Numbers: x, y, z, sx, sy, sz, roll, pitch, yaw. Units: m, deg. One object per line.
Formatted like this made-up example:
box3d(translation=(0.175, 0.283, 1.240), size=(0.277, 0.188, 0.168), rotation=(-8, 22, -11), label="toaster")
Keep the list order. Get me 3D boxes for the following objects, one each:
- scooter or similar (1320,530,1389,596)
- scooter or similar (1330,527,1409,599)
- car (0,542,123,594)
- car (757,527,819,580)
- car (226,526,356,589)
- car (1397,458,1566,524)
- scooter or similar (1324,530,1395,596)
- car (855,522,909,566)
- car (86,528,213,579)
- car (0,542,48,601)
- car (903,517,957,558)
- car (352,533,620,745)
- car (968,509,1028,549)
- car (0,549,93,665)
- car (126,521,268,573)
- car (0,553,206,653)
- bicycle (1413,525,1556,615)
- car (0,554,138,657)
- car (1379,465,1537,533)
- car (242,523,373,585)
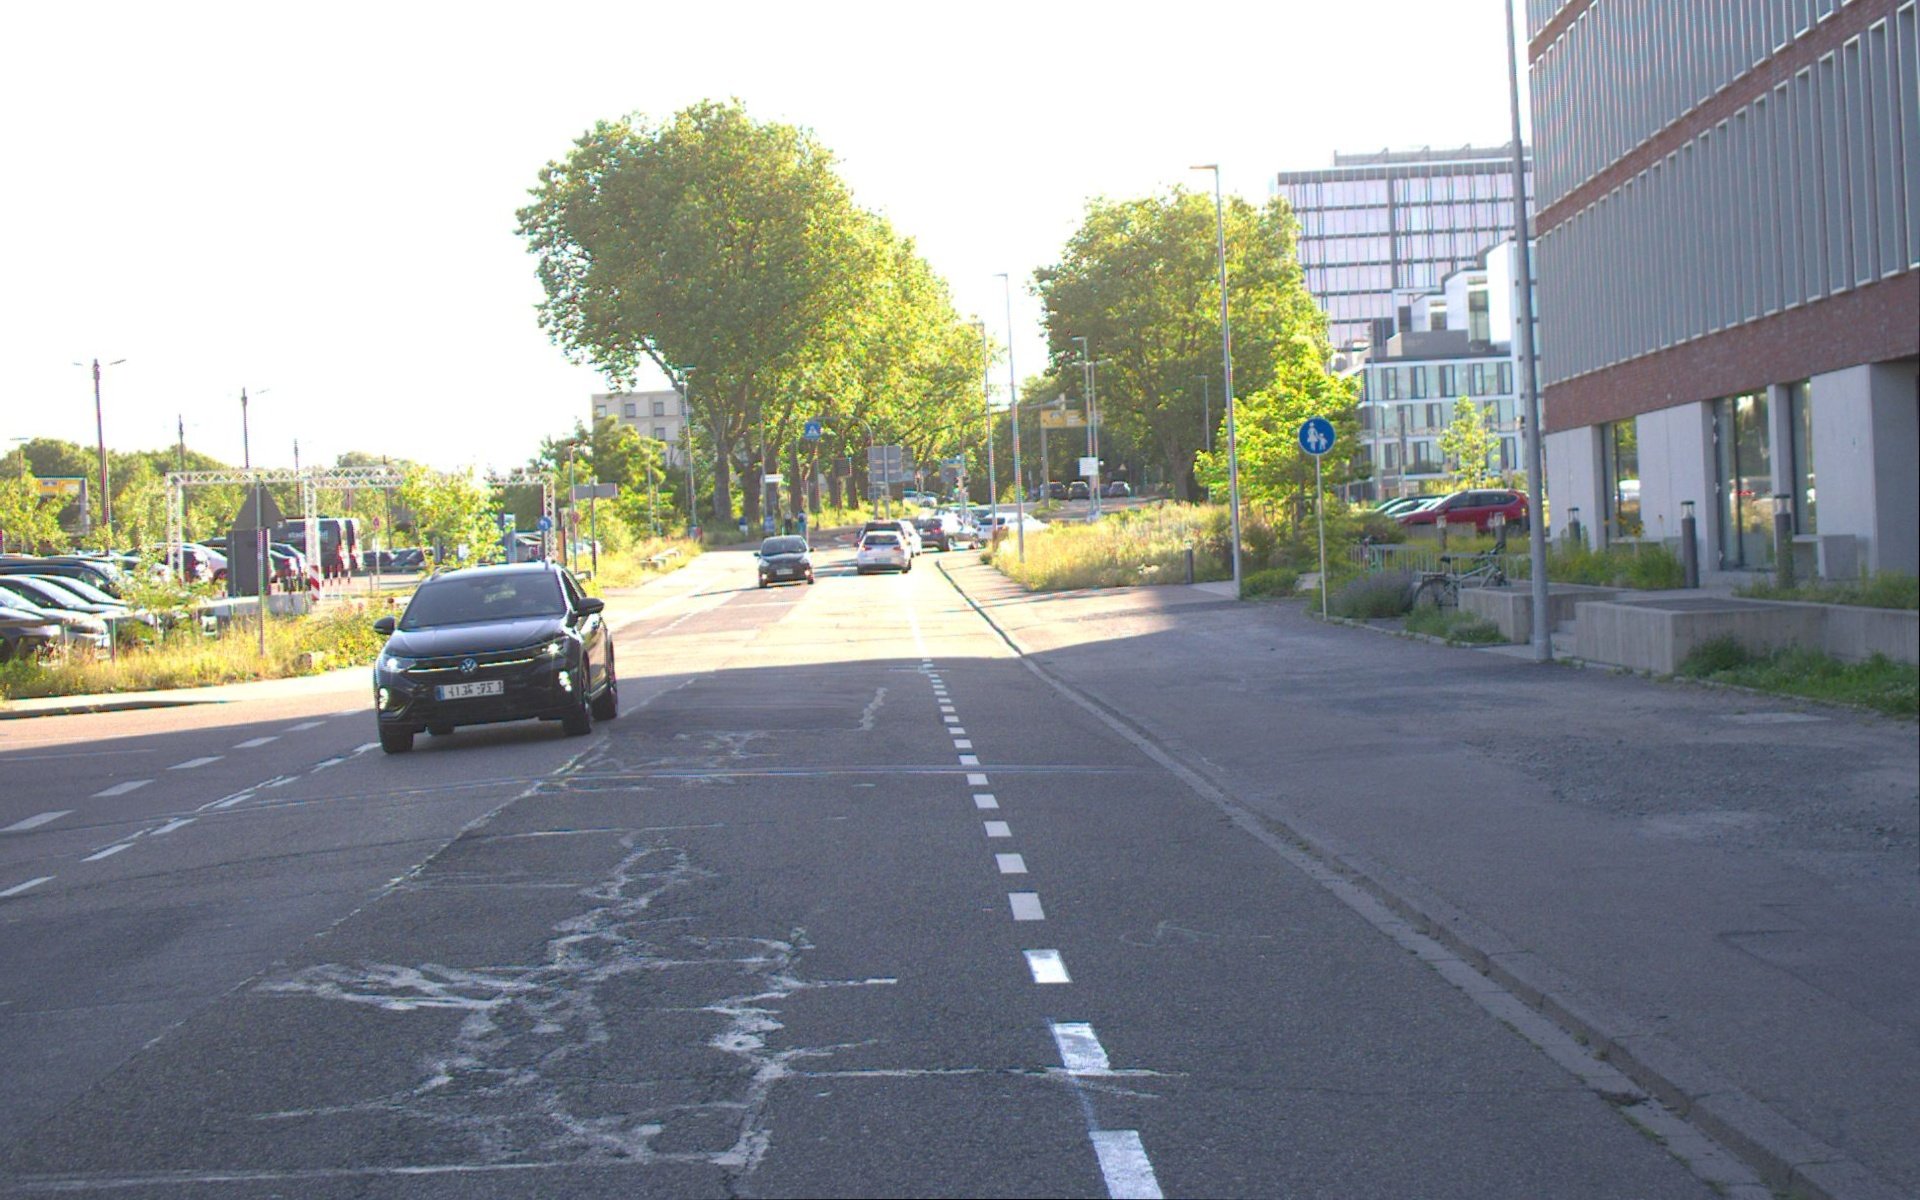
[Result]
box3d(translation=(7.341, -0.694, 64.017), size=(1.243, 1.191, 0.340), rotation=(-1, 1, 4), label="scooter or similar")
box3d(translation=(7.258, -0.656, 60.964), size=(1.340, 1.241, 0.423), rotation=(-1, 1, 4), label="scooter or similar")
box3d(translation=(-27.611, -0.960, 103.596), size=(4.321, 1.414, 1.878), rotation=(-2, 2, -2), label="car")
box3d(translation=(-5.274, -1.426, 105.786), size=(1.654, 1.498, 4.000), rotation=(-3, 1, 0), label="car")
box3d(translation=(-27.808, -1.773, 143.018), size=(4.926, 2.451, 2.320), rotation=(-1, 1, -2), label="car")
box3d(translation=(13.658, -2.861, 90.209), size=(4.184, 1.575, 1.852), rotation=(-2, 2, 3), label="car")
box3d(translation=(7.270, -0.674, 62.522), size=(1.243, 1.152, 0.366), rotation=(-1, 1, 4), label="scooter or similar")
box3d(translation=(-2.702, -1.931, 118.235), size=(1.790, 1.415, 4.000), rotation=(-1, 1, -2), label="car")
box3d(translation=(-27.612, -1.596, 117.186), size=(3.882, 1.598, 1.878), rotation=(-2, 2, -2), label="car")
box3d(translation=(-27.132, -0.722, 93.101), size=(4.321, 1.518, 1.878), rotation=(-2, 2, 0), label="car")
box3d(translation=(-1.273, -2.650, 147.068), size=(2.163, 1.678, 4.000), rotation=(-2, 1, 1), label="car")
box3d(translation=(-4.051, 0.274, 29.980), size=(1.740, 1.520, 4.112), rotation=(-6, 2, -1), label="car")
box3d(translation=(1.694, -3.156, 152.512), size=(2.164, 1.678, 3.999), rotation=(-1, 1, 8), label="car")
box3d(translation=(-15.027, 0.156, 49.637), size=(4.428, 1.575, 2.049), rotation=(-2, 1, 0), label="car")
box3d(translation=(-27.608, -1.919, 124.441), size=(4.580, 1.735, 2.058), rotation=(-2, 2, 3), label="car")
box3d(translation=(-14.704, 0.065, 55.785), size=(4.428, 1.456, 2.049), rotation=(-2, 1, 0), label="car")
box3d(translation=(7.526, -0.435, 49.352), size=(1.931, 1.165, 0.375), rotation=(-4, 1, -7), label="bicycle")
box3d(translation=(-15.058, 0.123, 52.543), size=(4.428, 1.456, 2.049), rotation=(-2, 1, 0), label="car")
box3d(translation=(14.019, -2.836, 97.019), size=(4.184, 1.575, 1.851), rotation=(-2, -4, 3), label="car")
box3d(translation=(-27.641, -1.966, 145.709), size=(5.096, 2.451, 2.320), rotation=(-2, 2, -2), label="car")
